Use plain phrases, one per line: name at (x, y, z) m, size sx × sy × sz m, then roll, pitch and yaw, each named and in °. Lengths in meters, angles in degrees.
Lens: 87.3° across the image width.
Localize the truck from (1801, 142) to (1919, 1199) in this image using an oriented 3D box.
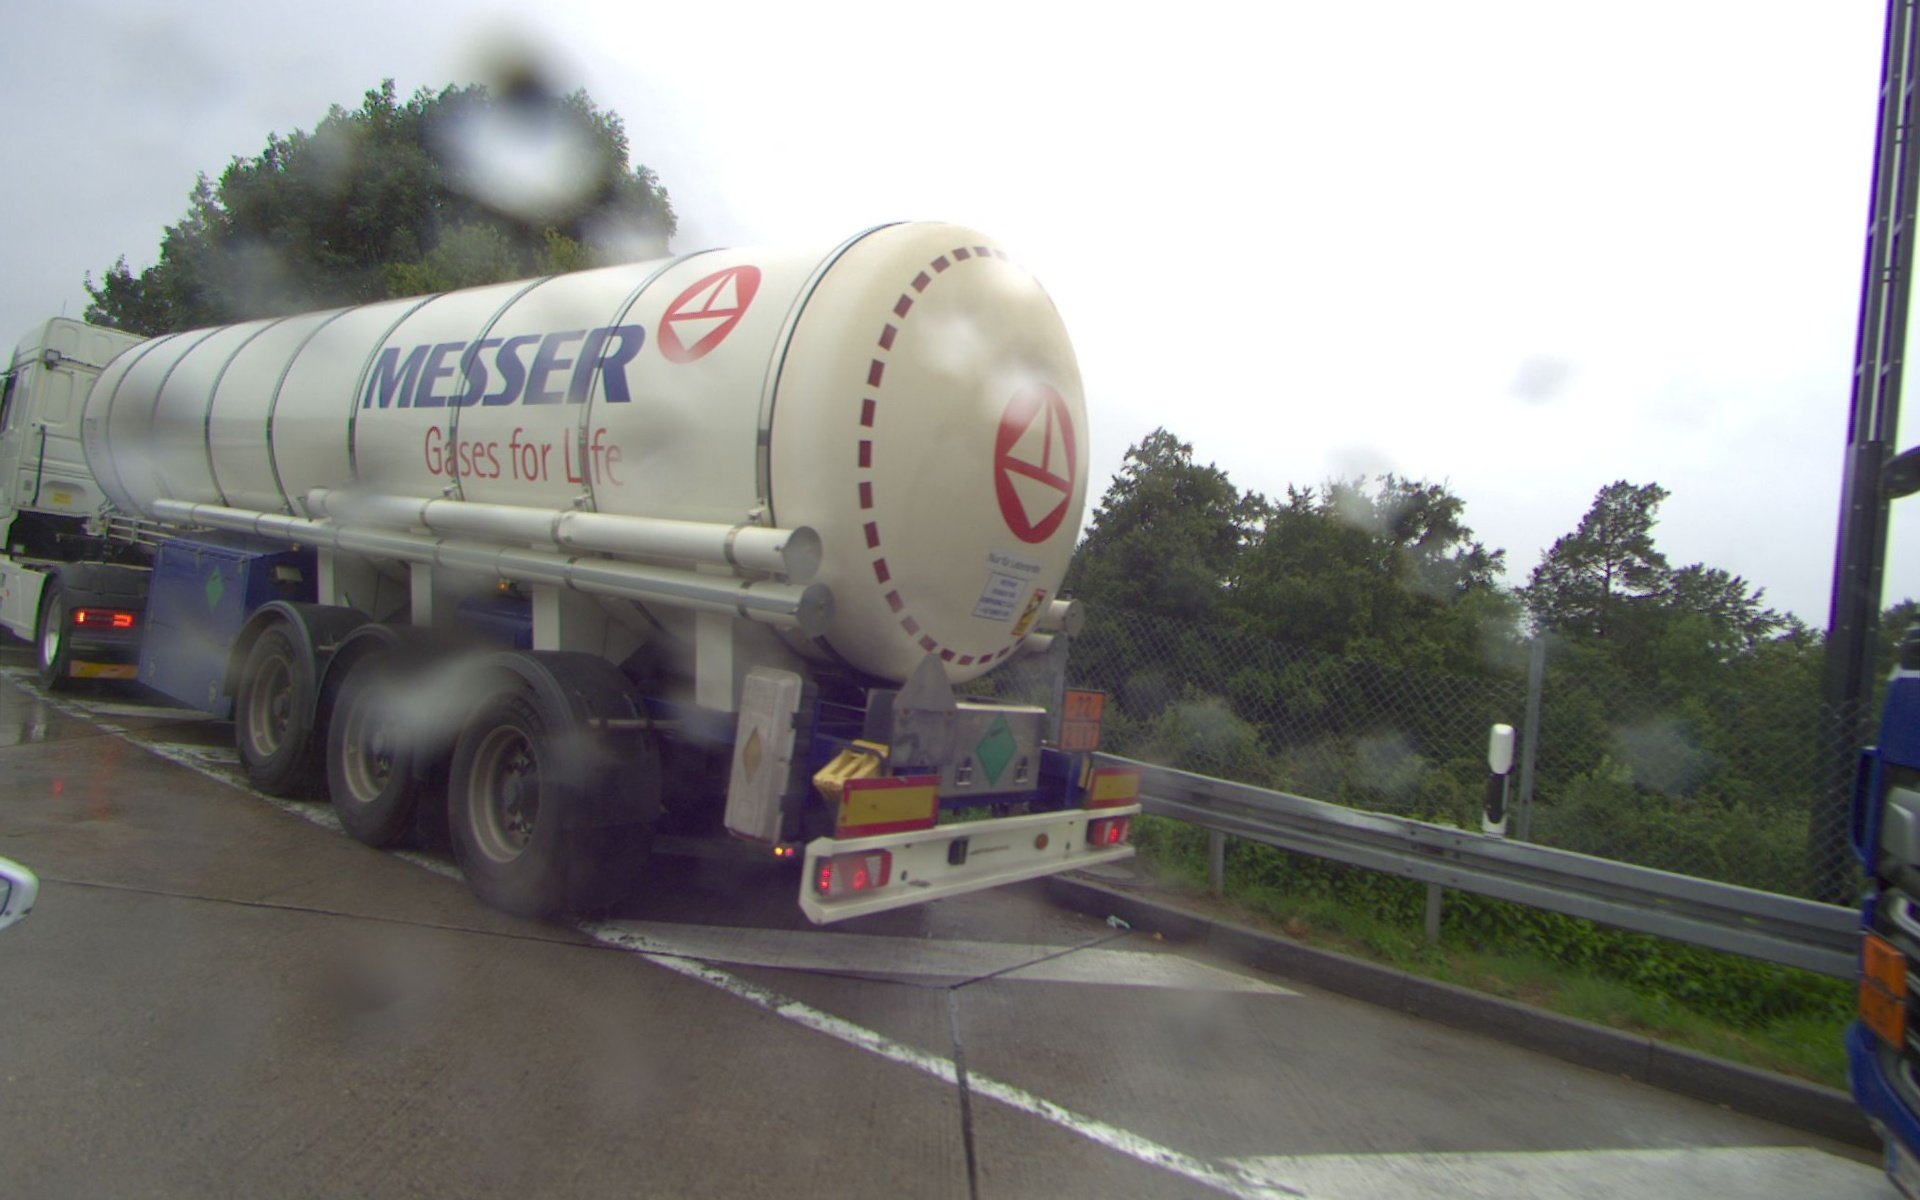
truck at (4.654, 0.342, 1.441) m, size 4.664 × 3.572 × 2.058 m, roll 6°, pitch -2°, yaw 28°

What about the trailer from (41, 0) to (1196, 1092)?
trailer at (-3.680, -0.546, 7.012) m, size 10.100 × 3.481 × 2.131 m, roll 6°, pitch -1°, yaw 38°

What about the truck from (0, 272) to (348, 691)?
truck at (-8.954, -1.132, 10.930) m, size 4.577 × 3.554 × 2.146 m, roll 6°, pitch -1°, yaw 38°

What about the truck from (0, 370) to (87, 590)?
truck at (-19.019, -2.383, 19.787) m, size 2.176 × 3.873 × 4.089 m, roll 8°, pitch -1°, yaw -45°

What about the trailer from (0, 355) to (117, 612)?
trailer at (-15.938, -1.921, 16.629) m, size 2.178 × 3.432 × 7.468 m, roll 8°, pitch -2°, yaw -45°
